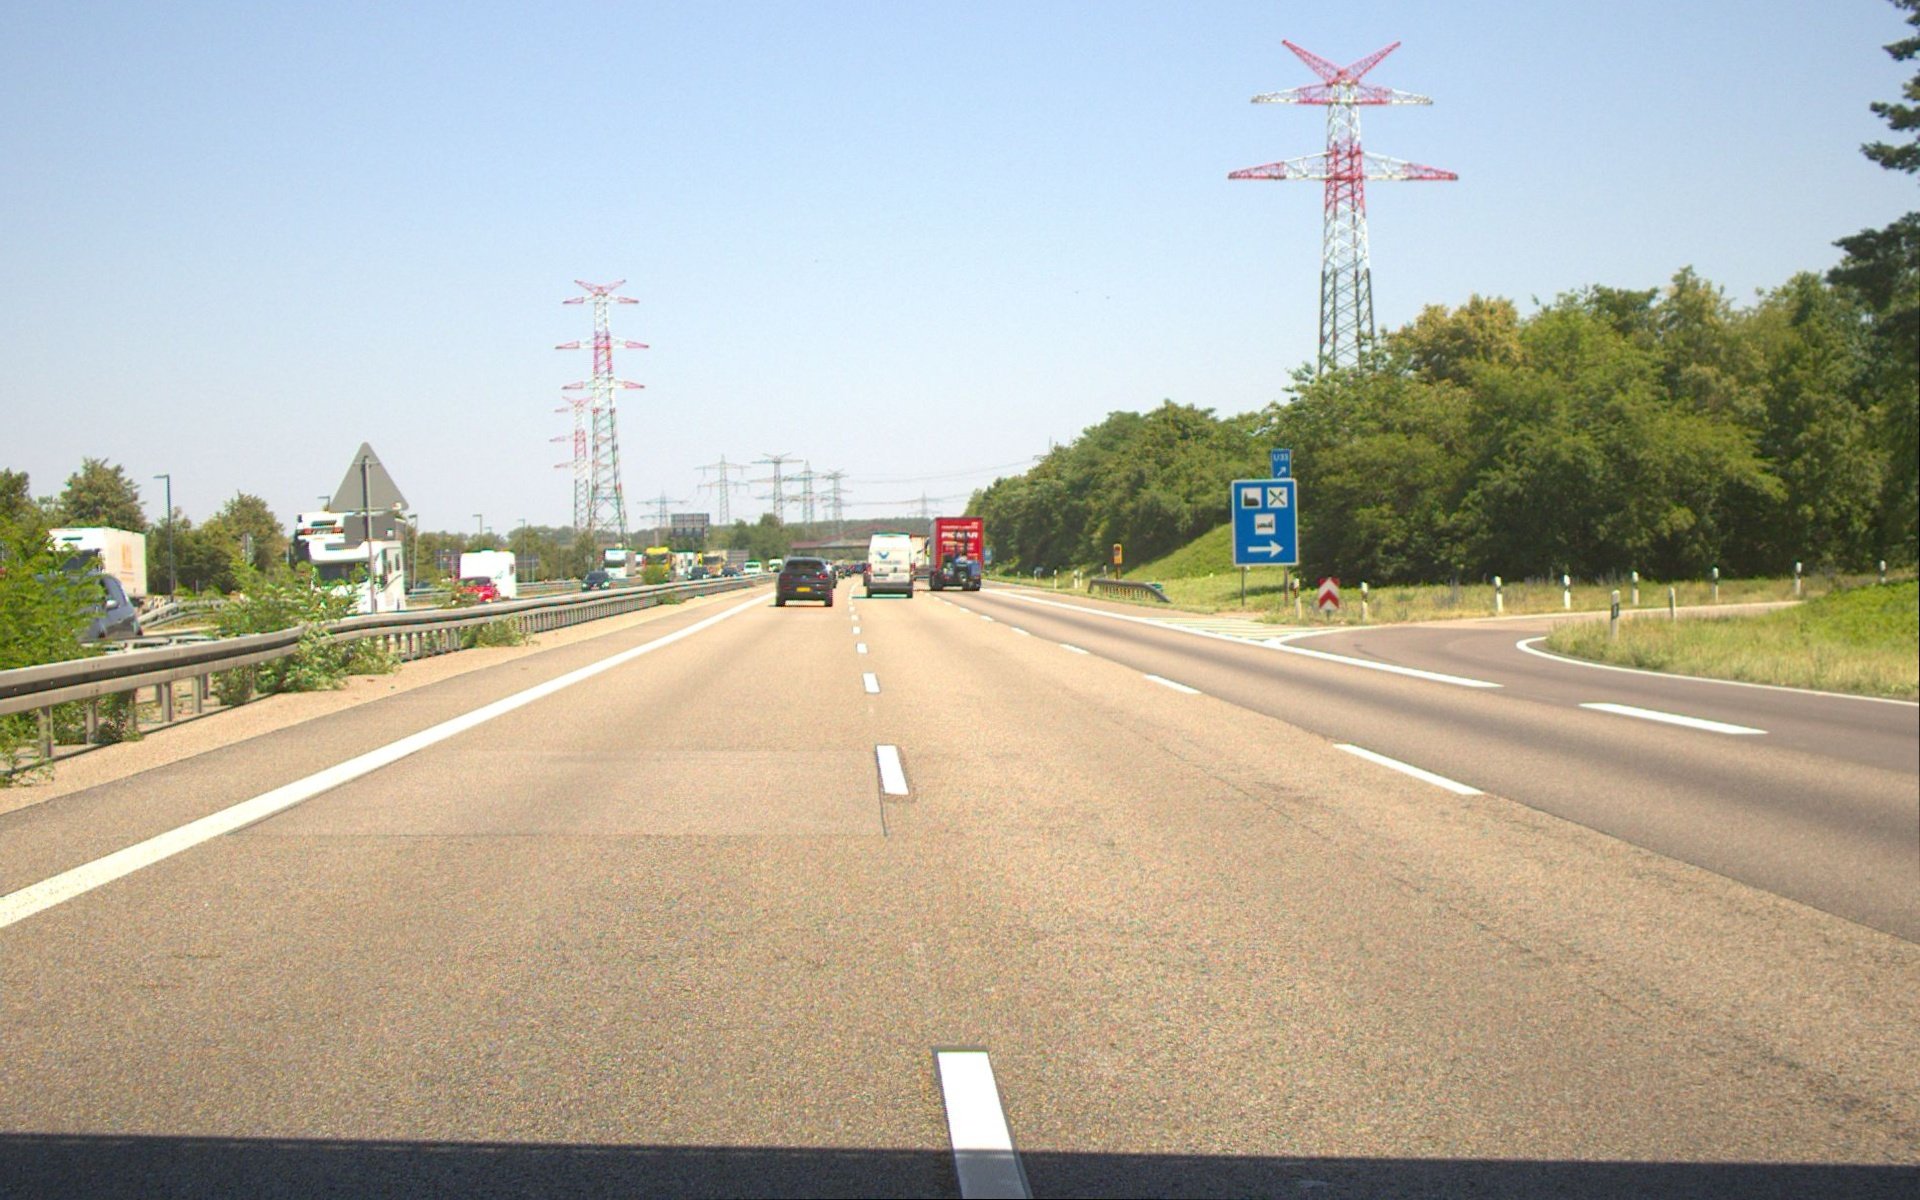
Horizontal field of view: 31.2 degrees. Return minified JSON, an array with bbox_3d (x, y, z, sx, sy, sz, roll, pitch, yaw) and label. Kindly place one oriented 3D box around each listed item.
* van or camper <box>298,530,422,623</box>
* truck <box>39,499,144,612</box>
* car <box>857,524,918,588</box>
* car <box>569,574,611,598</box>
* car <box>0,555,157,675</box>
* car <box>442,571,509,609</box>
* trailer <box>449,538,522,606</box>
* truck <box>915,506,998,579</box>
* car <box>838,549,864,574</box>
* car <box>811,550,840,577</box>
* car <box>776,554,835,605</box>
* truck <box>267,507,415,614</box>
[{"bbox_3d":[-19.232,-0.769,110.605,2.501,2.801,8.562,-1,1,-1],"label":"van or camper"},{"bbox_3d":[-39.166,-2.030,155.285,3.070,4.811,7.717,-4,1,-4],"label":"truck"},{"bbox_3d":[-3.247,-1.973,152.371,2.621,2.749,6.097,0,1,-2],"label":"car"},{"bbox_3d":[-23.130,-0.887,215.220,2.227,1.375,4.891,-3,1,-2],"label":"car"},{"bbox_3d":[-13.575,0.205,51.021,2.227,1.605,5.060,-3,1,-2],"label":"car"},{"bbox_3d":[-20.221,-0.431,143.547,2.227,1.375,4.692,-3,1,-2],"label":"car"},{"bbox_3d":[-20.452,-1.226,148.453,2.477,2.738,5.075,-3,1,-2],"label":"trailer"},{"bbox_3d":[-0.290,-3.235,193.297,4.331,3.928,16.078,0,1,-1],"label":"truck"},{"bbox_3d":[-7.361,-2.620,232.937,1.747,1.628,4.004,0,1,-2],"label":"car"},{"bbox_3d":[-8.258,-2.265,210.872,1.747,1.628,4.004,0,1,-2],"label":"car"},{"bbox_3d":[-5.409,-0.738,120.669,1.993,1.744,4.000,0,1,-2],"label":"car"},{"bbox_3d":[-24.831,-1.595,138.906,3.326,3.982,16.868,-1,1,-2],"label":"truck"}]
